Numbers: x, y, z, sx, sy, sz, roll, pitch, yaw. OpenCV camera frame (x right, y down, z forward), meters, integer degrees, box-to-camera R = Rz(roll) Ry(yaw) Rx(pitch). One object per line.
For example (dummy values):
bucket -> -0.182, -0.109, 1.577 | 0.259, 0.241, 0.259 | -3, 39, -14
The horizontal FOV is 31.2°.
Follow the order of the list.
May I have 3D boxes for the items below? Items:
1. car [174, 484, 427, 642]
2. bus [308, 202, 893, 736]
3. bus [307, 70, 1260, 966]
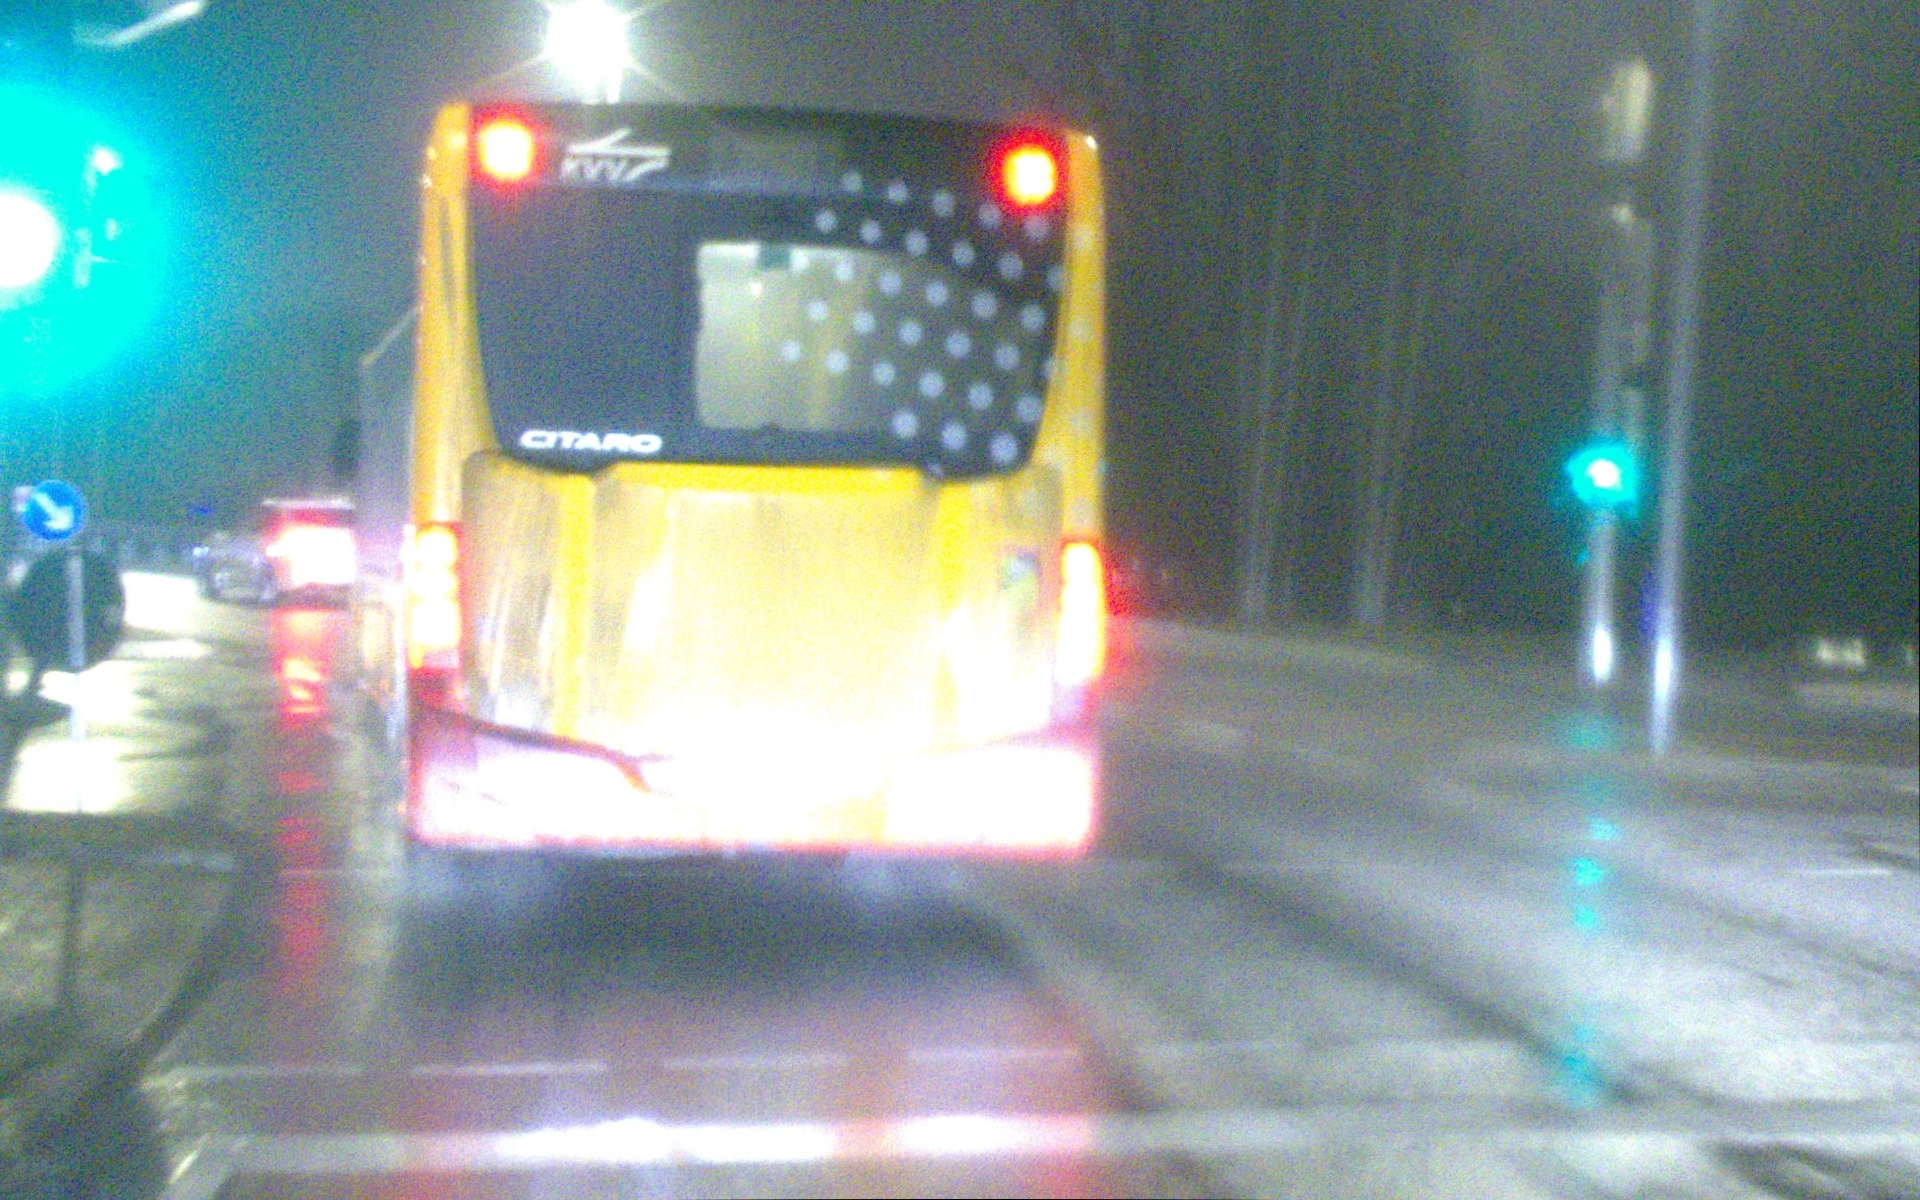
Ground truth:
car -> -9.230, -0.536, 47.865 | 1.993, 2.007, 4.349 | 3, 0, -31
bus -> -3.016, -0.960, 25.642 | 3.246, 3.109, 8.648 | 4, 2, -12
bus -> -1.269, -0.529, 16.605 | 3.284, 3.039, 9.547 | 0, 3, -8
